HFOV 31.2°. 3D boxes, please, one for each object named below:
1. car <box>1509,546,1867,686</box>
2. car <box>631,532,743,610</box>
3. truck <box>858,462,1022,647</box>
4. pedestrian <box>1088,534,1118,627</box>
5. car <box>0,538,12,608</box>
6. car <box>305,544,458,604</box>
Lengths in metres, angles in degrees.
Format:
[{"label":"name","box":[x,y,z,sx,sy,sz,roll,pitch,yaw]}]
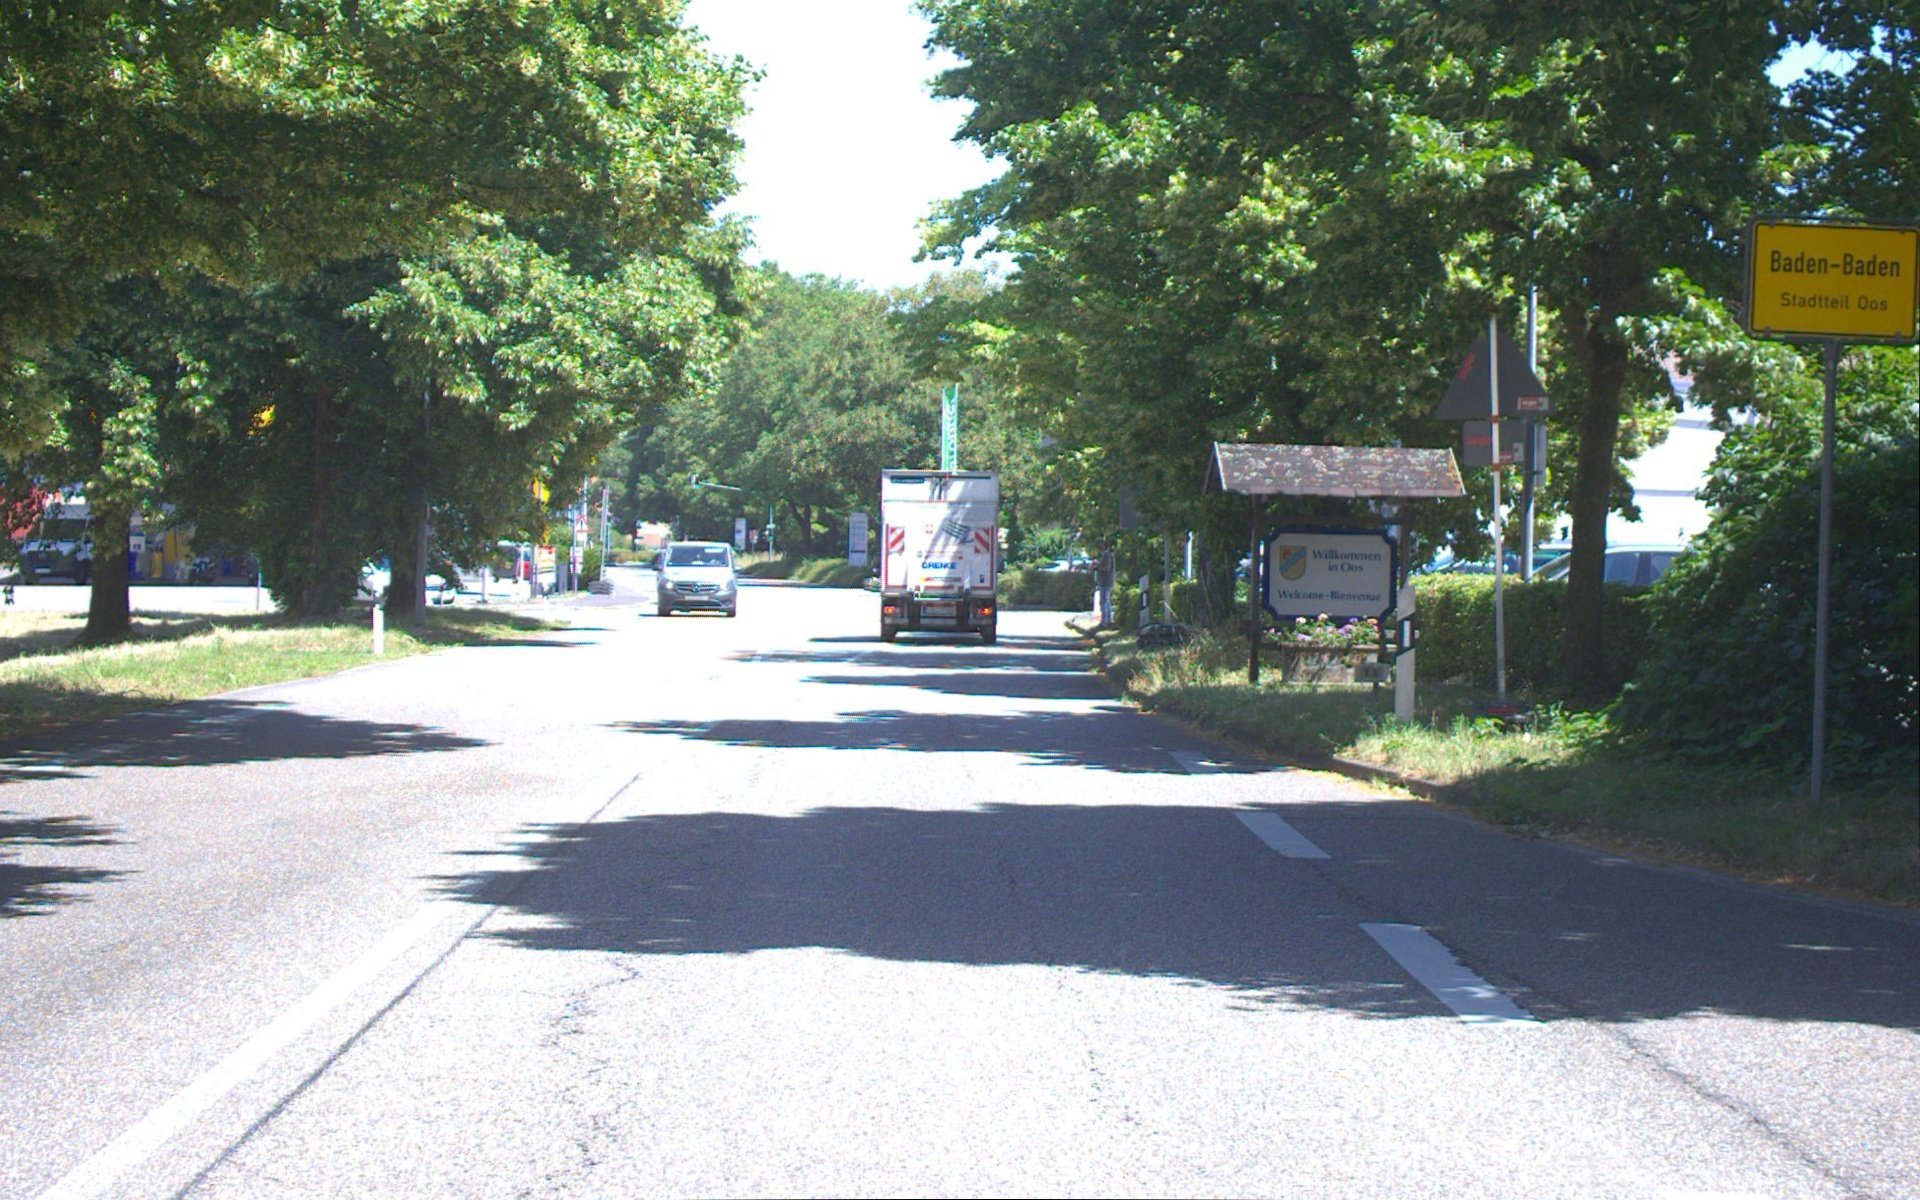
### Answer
[{"label":"car","box":[8.830,0.179,41.910,3.934,1.559,1.797,2,1,-1]},{"label":"car","box":[-6.728,-0.729,84.293,1.993,1.850,5.317,0,1,-13]},{"label":"truck","box":[-0.295,-0.846,60.993,2.534,3.124,5.361,1,2,3]},{"label":"pedestrian","box":[2.763,-0.377,66.380,0.548,1.770,0.577,1,1,4]},{"label":"car","box":[-22.843,-0.657,79.536,1.735,1.579,4.001,0,1,-15]},{"label":"car","box":[-13.575,-0.625,80.585,3.428,1.357,1.333,1,1,28]}]
